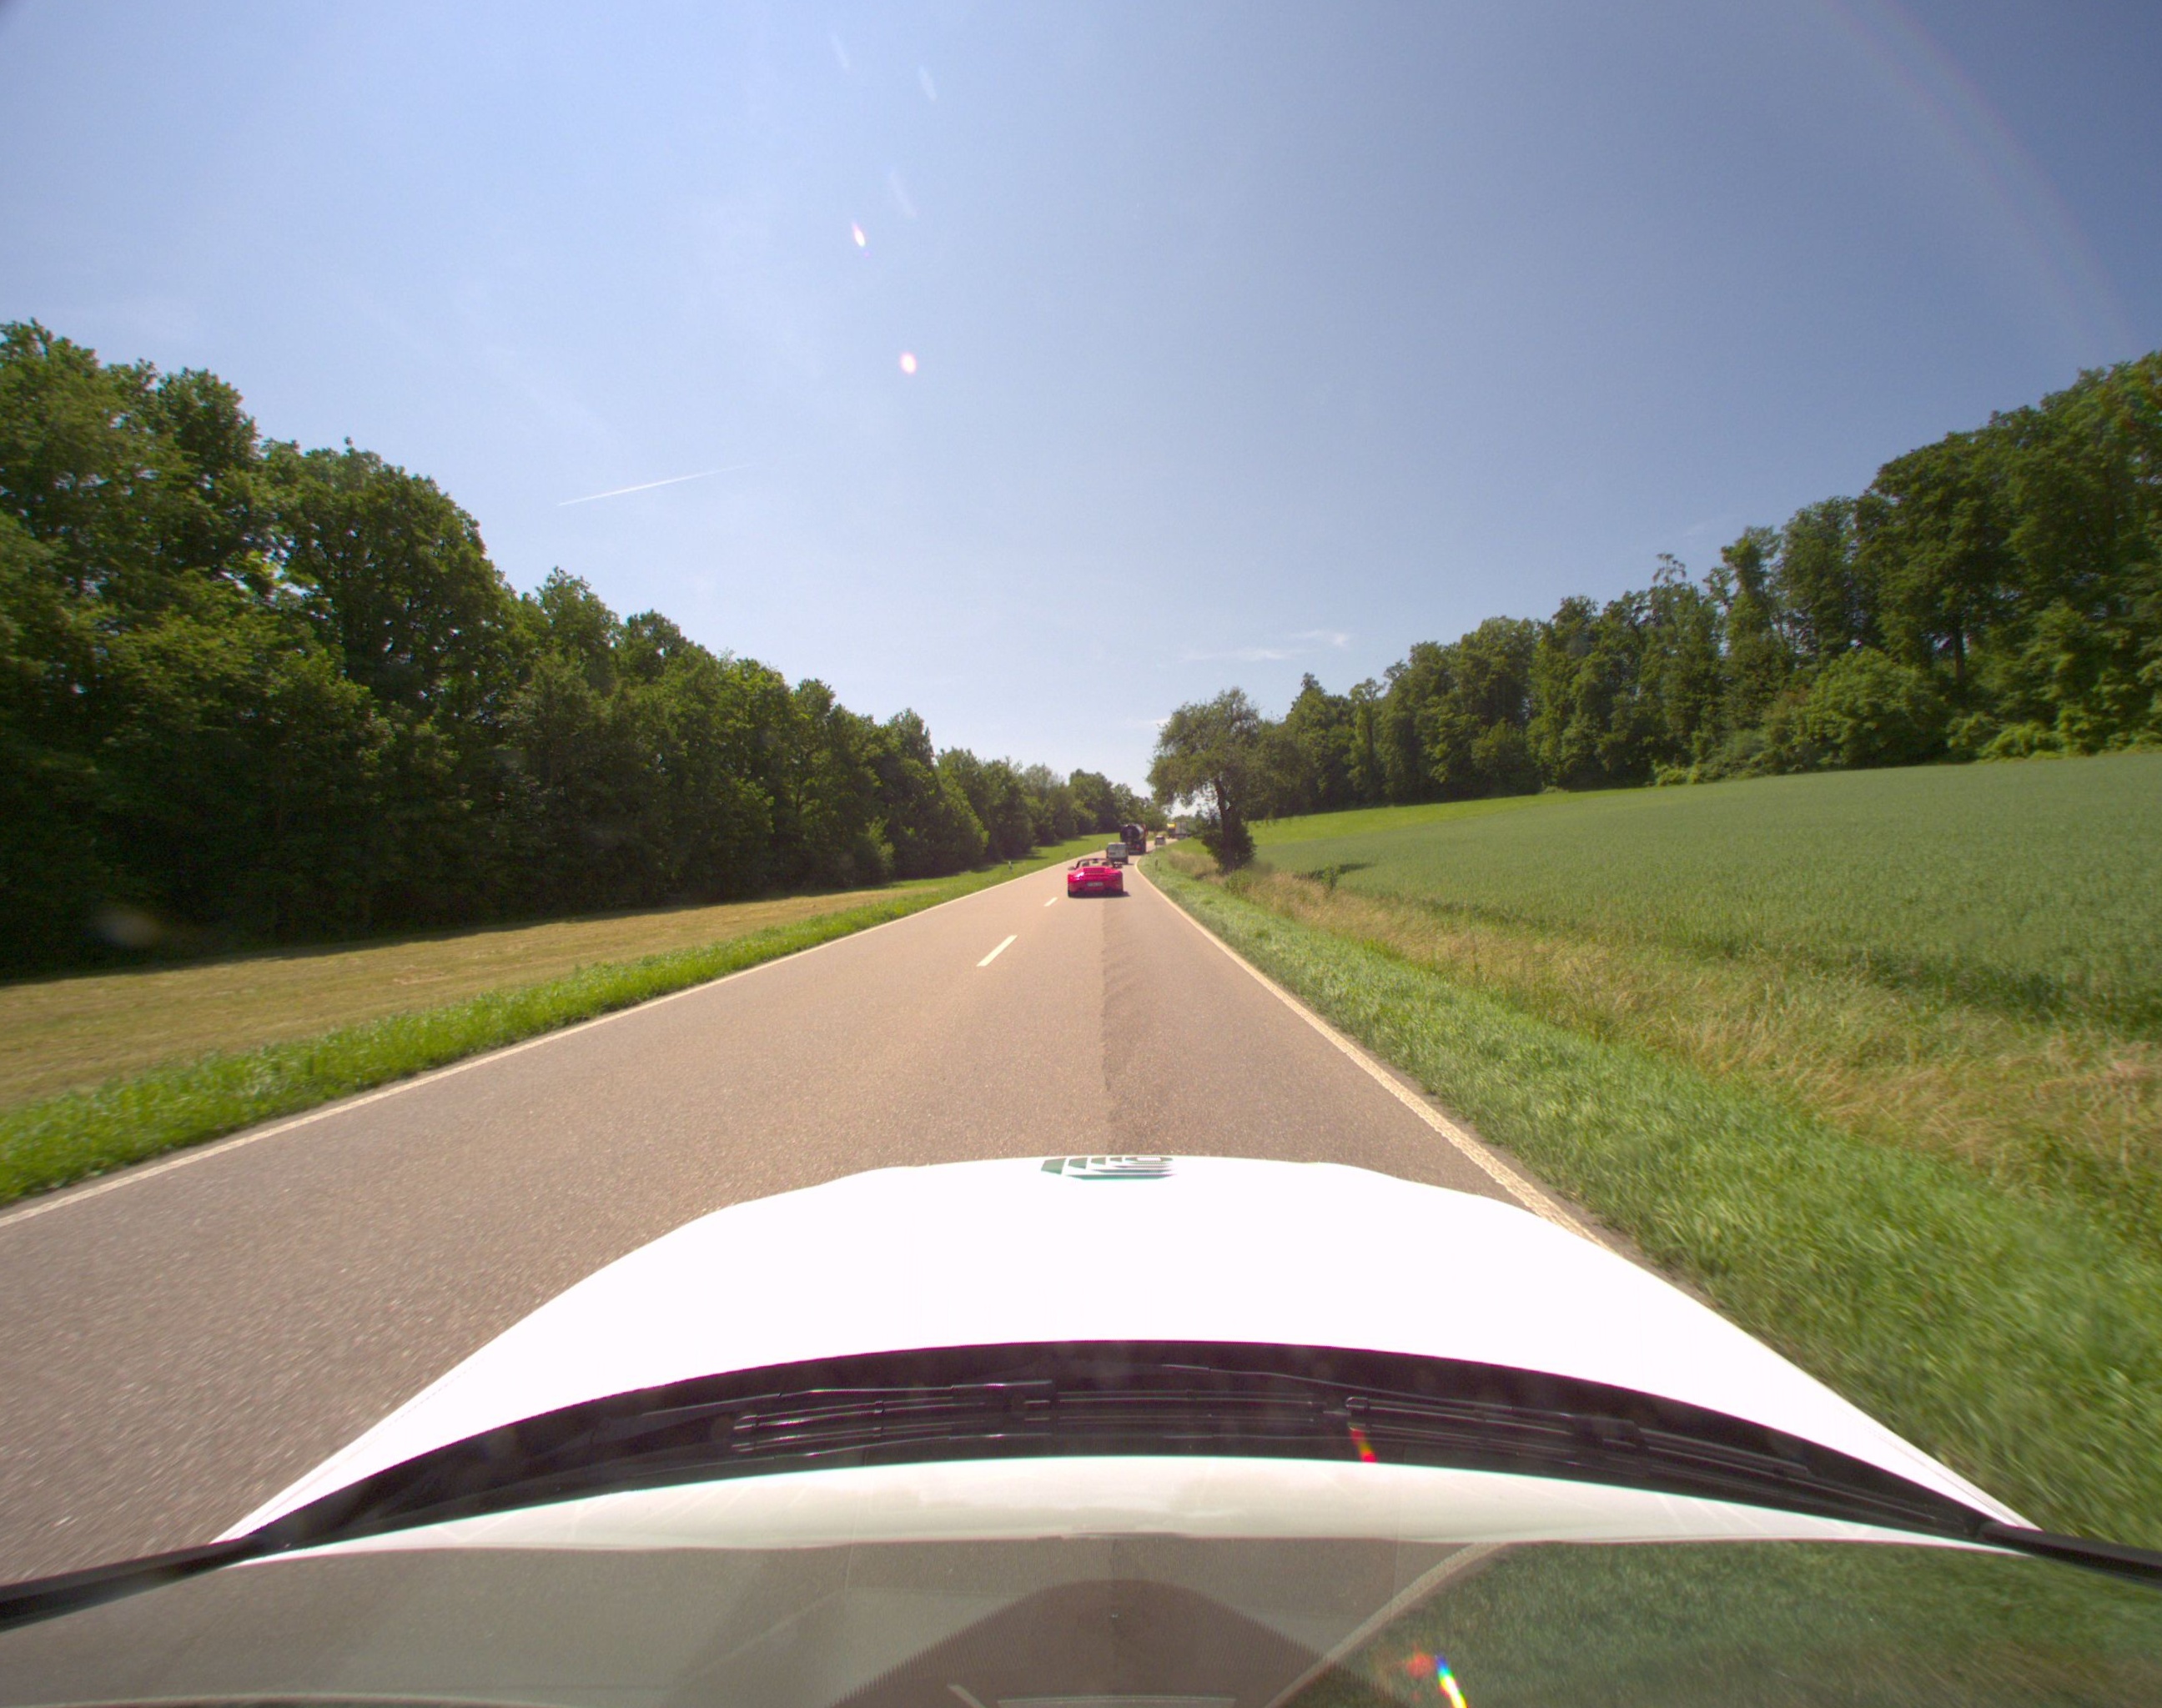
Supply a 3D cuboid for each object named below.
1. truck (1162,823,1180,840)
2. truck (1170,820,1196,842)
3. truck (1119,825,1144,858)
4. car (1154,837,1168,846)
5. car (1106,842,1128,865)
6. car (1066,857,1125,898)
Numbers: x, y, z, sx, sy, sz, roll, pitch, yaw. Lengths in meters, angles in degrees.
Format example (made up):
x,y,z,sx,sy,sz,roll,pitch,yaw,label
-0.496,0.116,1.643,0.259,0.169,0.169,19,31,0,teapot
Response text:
x,y,z,sx,sy,sz,roll,pitch,yaw,label
20.578,-5.095,185.635,2.711,3.690,8.579,-1,1,14,truck
22.069,-5.033,175.569,3.698,4.659,12.082,-1,2,15,truck
6.753,-1.559,107.223,2.391,4.049,12.573,-2,0,7,truck
14.035,-2.247,143.216,1.818,1.513,4.206,-1,2,13,car
3.191,-0.048,72.123,1.670,1.900,4.016,-1,1,5,car
0.508,0.764,28.219,1.876,1.255,4.011,-1,1,1,car
